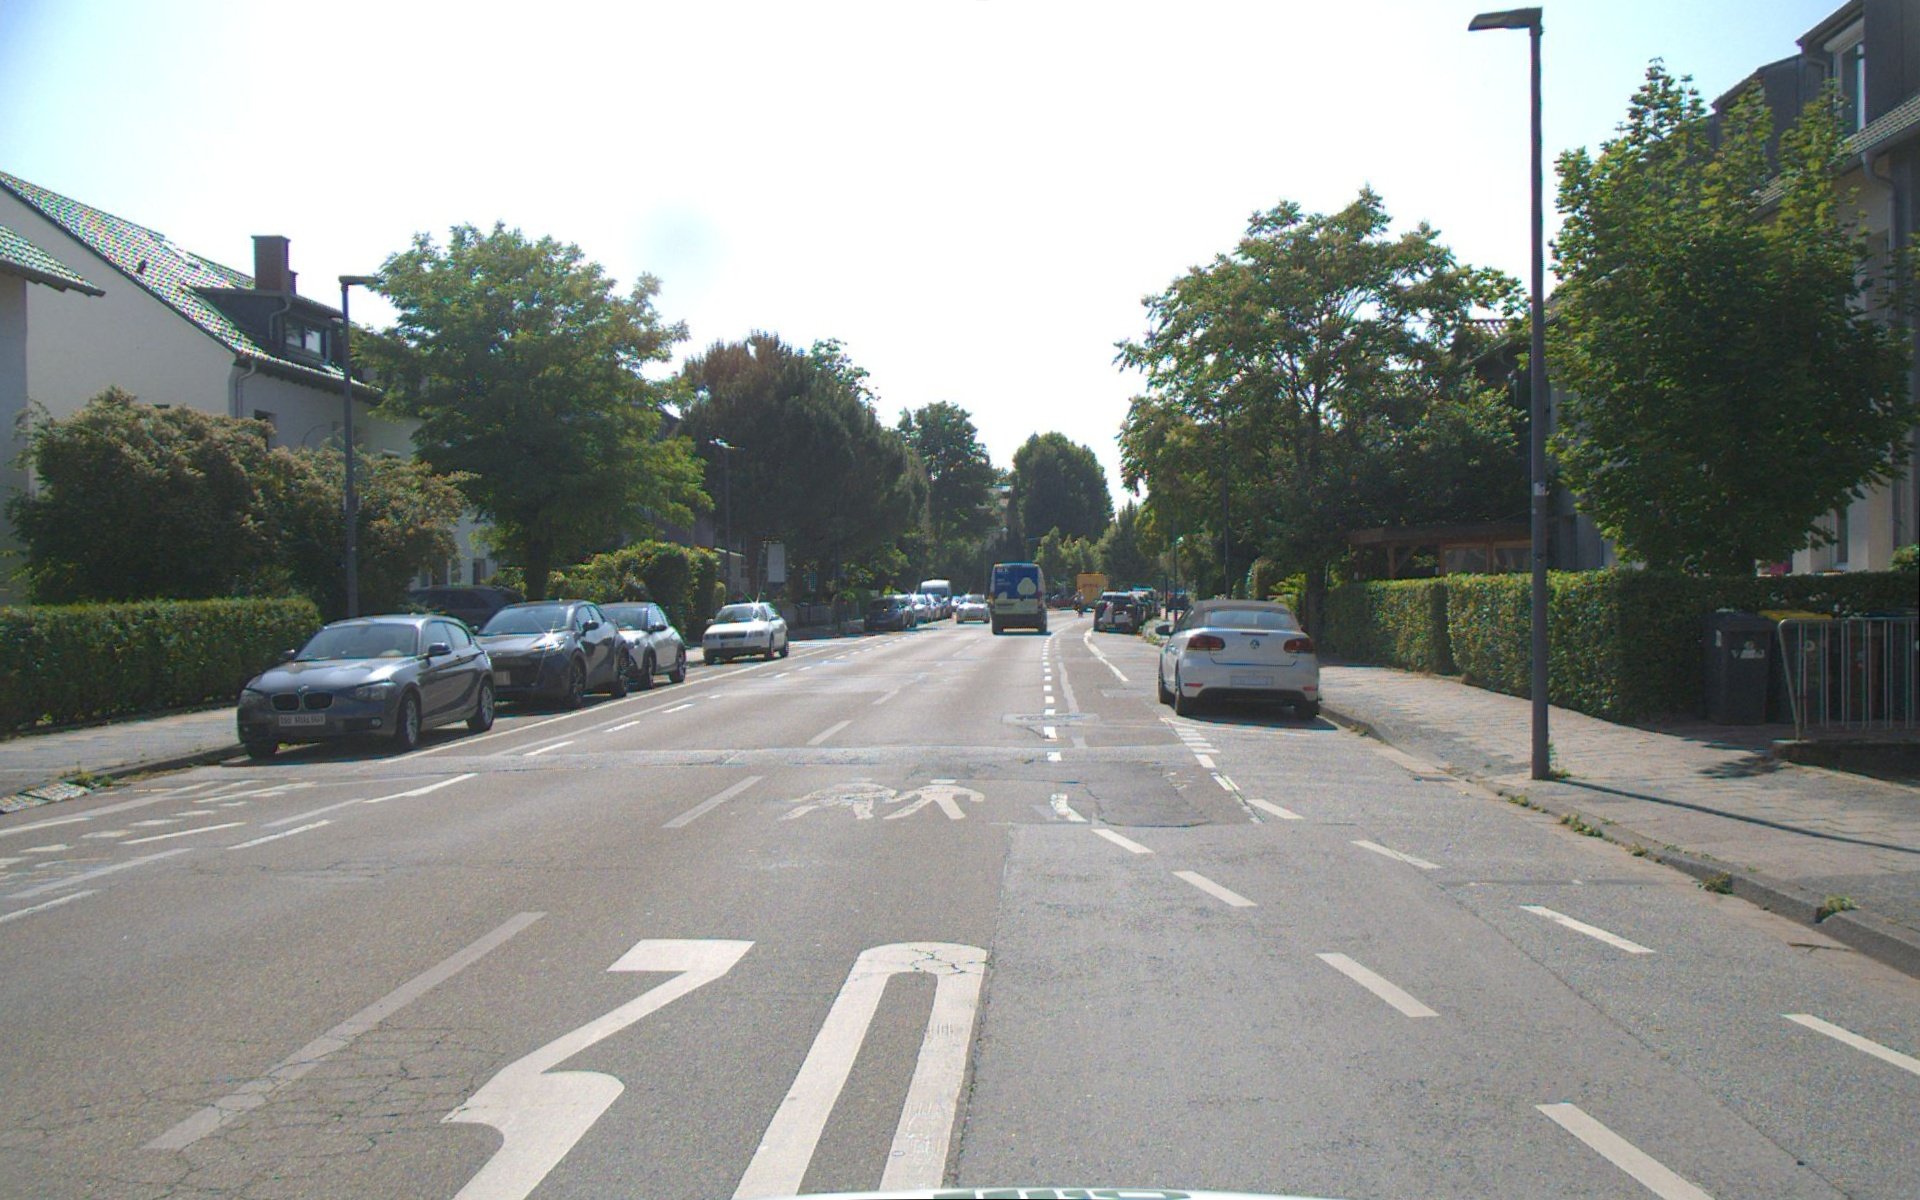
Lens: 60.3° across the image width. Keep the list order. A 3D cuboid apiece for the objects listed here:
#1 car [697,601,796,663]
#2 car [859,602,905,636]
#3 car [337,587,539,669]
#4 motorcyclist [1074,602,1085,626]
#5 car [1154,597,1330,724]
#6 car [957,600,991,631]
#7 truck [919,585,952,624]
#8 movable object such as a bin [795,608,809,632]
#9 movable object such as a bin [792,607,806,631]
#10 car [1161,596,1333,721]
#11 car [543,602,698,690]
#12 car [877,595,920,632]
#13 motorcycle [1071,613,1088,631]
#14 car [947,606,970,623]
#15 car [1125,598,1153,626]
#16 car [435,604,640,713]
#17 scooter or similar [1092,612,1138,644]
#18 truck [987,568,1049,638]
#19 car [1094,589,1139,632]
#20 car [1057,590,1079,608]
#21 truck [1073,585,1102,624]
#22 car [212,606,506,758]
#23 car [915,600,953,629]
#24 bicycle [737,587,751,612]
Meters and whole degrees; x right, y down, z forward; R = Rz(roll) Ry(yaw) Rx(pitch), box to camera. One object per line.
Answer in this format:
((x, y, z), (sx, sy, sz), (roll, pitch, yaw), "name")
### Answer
((-5.360, 0.776, 41.981), (1.748, 1.465, 4.002), (-1, 0, 4), "car")
((-3.569, 0.871, 76.425), (1.744, 1.485, 4.087), (-2, 0, 2), "car")
((-11.859, 0.619, 37.731), (3.903, 1.790, 2.001), (0, 0, 3), "car")
((7.667, 0.913, 105.870), (0.658, 1.545, 0.652), (-1, -1, 3), "motorcyclist")
((3.547, 0.709, 21.479), (1.704, 1.427, 4.075), (2, 0, 2), "car")
((0.760, 0.826, 89.154), (1.696, 1.568, 4.001), (-2, -1, 2), "car")
((-1.626, 0.301, 111.516), (2.038, 2.582, 5.467), (-1, 0, 0), "truck")
((-7.527, 0.940, 78.853), (0.532, 1.131, 0.585), (-1, -1, 9), "movable object such as a bin")
((-7.609, 0.906, 78.242), (0.532, 1.131, 0.519), (-1, -1, 9), "movable object such as a bin")
((3.608, 0.690, 21.400), (1.816, 1.395, 4.002), (2, 0, 5), "car")
((-6.085, 0.784, 30.065), (1.748, 1.465, 4.002), (-1, 0, 4), "car")
((-3.032, 0.682, 82.194), (1.869, 1.706, 4.259), (-2, 0, 1), "car")
((7.634, 1.384, 105.827), (1.034, 1.142, 2.993), (-1, -1, 3), "motorcycle")
((-0.102, 1.134, 131.937), (1.718, 1.367, 3.654), (-1, 0, 2), "car")
((11.161, 0.721, 103.179), (1.664, 1.706, 3.777), (-1, 0, 6), "car")
((-6.276, 0.824, 25.038), (1.747, 1.465, 4.113), (-2, 0, 4), "car")
((6.238, 1.115, 66.611), (0.714, 1.174, 1.770), (3, 0, -42), "scooter or similar")
((2.301, 0.124, 64.334), (2.224, 2.616, 4.394), (-1, -1, 4), "truck")
((6.579, 0.438, 69.318), (1.747, 1.667, 4.473), (1, 0, 7), "car")
((9.904, -0.088, 151.712), (1.951, 1.686, 4.607), (-1, 0, 4), "car")
((10.019, 0.352, 130.224), (2.168, 2.998, 5.688), (-1, -1, 3), "truck")
((-6.596, 0.828, 18.664), (1.749, 1.465, 4.154), (-2, 0, 0), "car")
((-1.435, 0.823, 93.375), (1.796, 1.623, 3.777), (-1, -1, 5), "car")
((-10.832, -0.020, 82.837), (0.526, 1.202, 1.446), (-1, 1, -2), "bicycle")
